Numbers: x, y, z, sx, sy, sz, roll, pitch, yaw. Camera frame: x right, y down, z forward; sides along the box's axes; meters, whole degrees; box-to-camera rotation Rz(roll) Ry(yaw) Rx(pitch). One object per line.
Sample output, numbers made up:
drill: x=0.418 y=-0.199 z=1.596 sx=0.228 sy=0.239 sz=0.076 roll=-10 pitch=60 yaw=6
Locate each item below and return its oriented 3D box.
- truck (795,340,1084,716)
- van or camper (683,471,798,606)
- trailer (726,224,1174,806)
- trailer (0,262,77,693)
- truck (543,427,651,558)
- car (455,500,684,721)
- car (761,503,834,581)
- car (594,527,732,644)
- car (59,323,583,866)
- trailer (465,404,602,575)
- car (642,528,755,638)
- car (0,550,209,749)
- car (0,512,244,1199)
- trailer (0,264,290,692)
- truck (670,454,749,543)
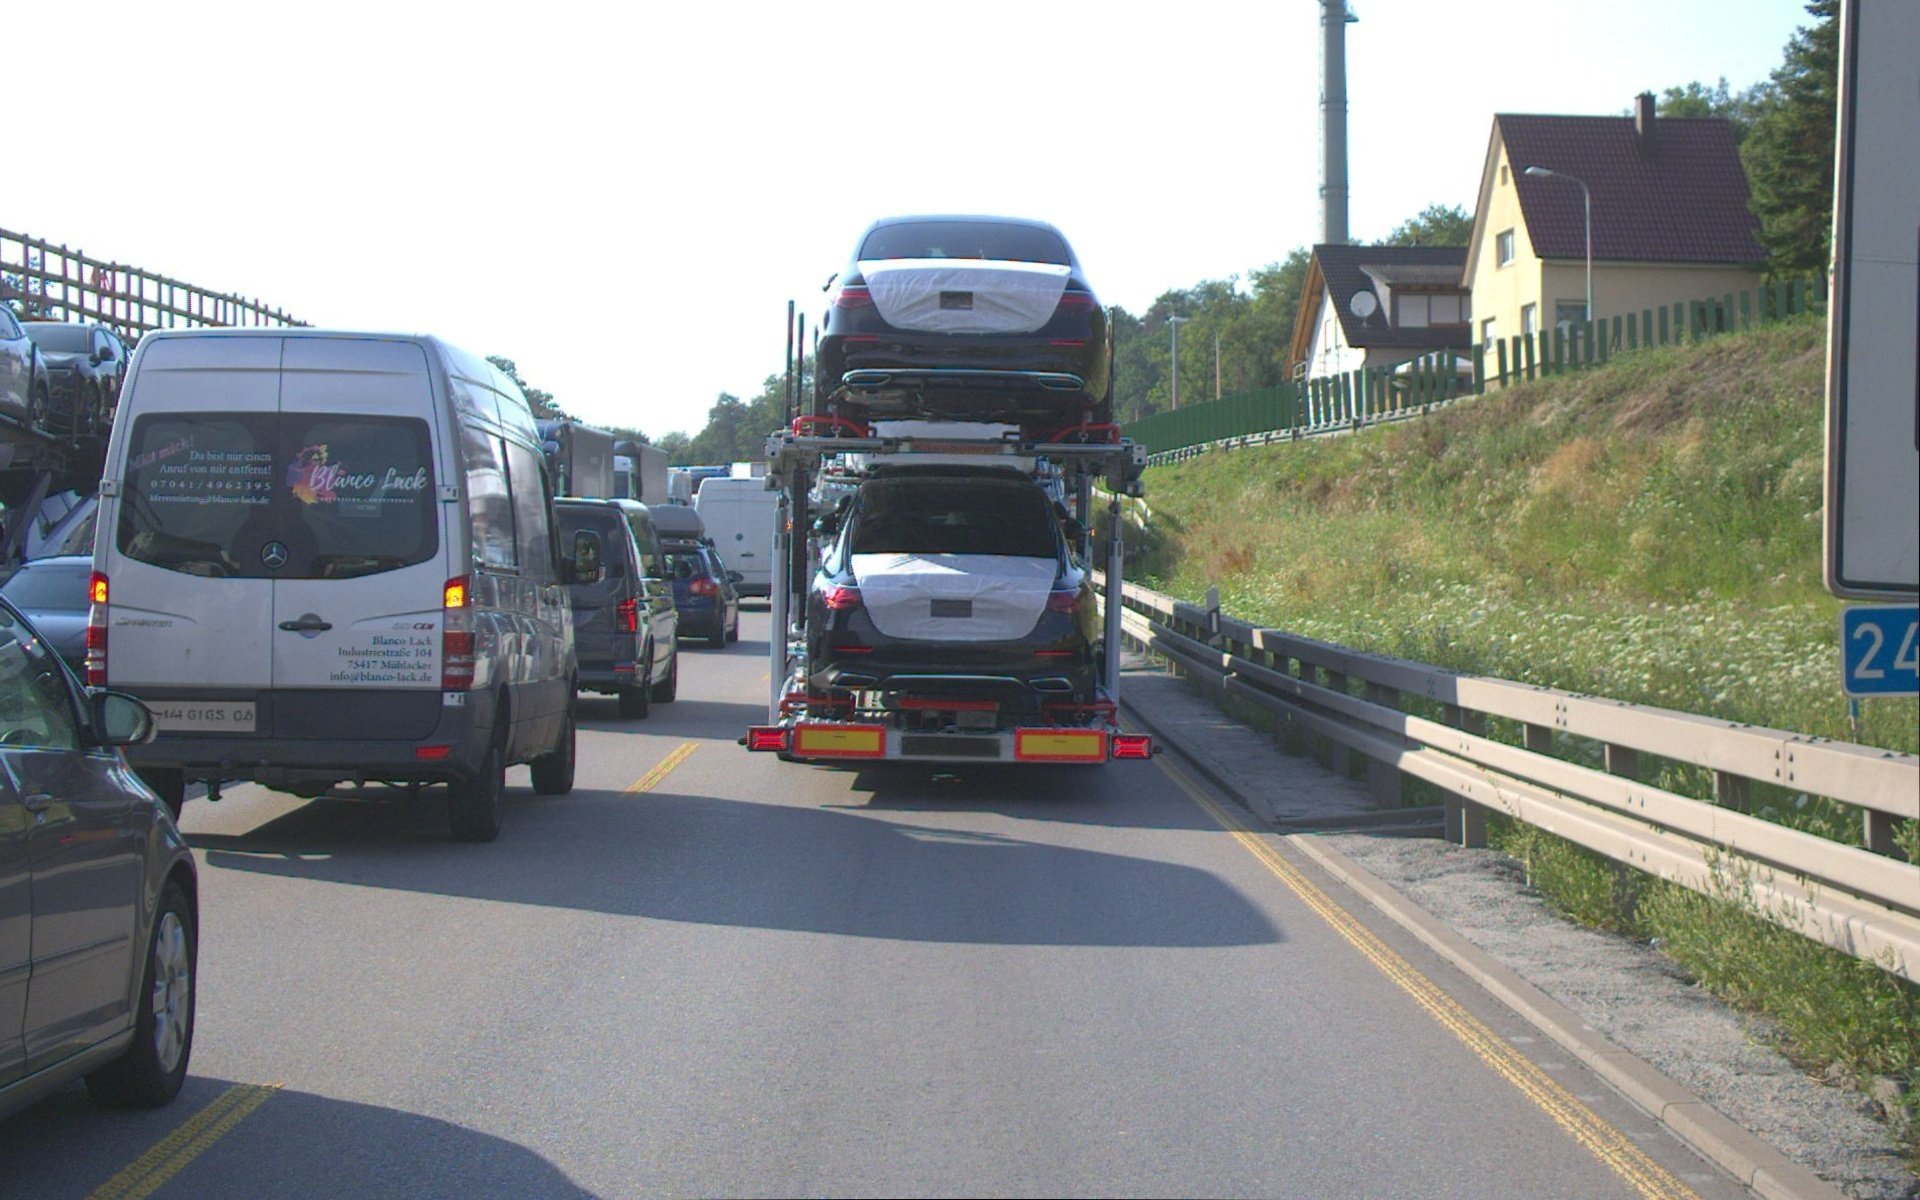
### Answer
truck: x=-0.228 y=-0.741 z=36.214 sx=2.682 sy=3.522 sz=7.194 roll=1 pitch=1 yaw=-1
van or camper: x=-4.381 y=-1.227 z=69.229 sx=1.968 sy=2.582 sz=5.042 roll=1 pitch=1 yaw=0
trailer: x=-0.139 y=-0.641 z=28.723 sx=2.682 sy=3.522 sz=15.289 roll=1 pitch=1 yaw=-1
trailer: x=-10.336 y=-1.151 z=31.255 sx=2.771 sy=4.017 sz=7.208 roll=1 pitch=1 yaw=-1
truck: x=-11.450 y=-3.349 z=108.885 sx=2.860 sy=3.994 sz=5.658 roll=1 pitch=1 yaw=-1
car: x=-3.589 y=0.076 z=32.182 sx=1.808 sy=1.897 sz=4.000 roll=1 pitch=0 yaw=-2
car: x=-4.473 y=-1.617 z=94.826 sx=1.885 sy=2.092 sz=3.766 roll=1 pitch=1 yaw=-1
car: x=-4.175 y=-0.240 z=48.764 sx=1.725 sy=1.517 sz=3.974 roll=1 pitch=2 yaw=-2
car: x=-3.409 y=-0.107 z=19.488 sx=1.993 sy=2.639 sz=5.531 roll=0 pitch=2 yaw=-1
trailer: x=-10.786 y=-2.812 z=87.352 sx=2.764 sy=4.127 sz=5.977 roll=1 pitch=2 yaw=-1
car: x=-6.178 y=-0.433 z=81.658 sx=2.471 sy=2.525 sz=4.000 roll=0 pitch=1 yaw=-1
car: x=-7.418 y=0.332 z=27.713 sx=1.709 sy=1.440 sz=4.600 roll=1 pitch=1 yaw=0
car: x=-2.927 y=0.592 z=8.018 sx=1.680 sy=1.583 sz=4.272 roll=0 pitch=0 yaw=-1
trailer: x=-10.474 y=-1.255 z=38.971 sx=2.771 sy=4.017 sz=15.764 roll=1 pitch=1 yaw=-1
truck: x=-10.092 y=-4.057 z=139.307 sx=2.714 sy=3.412 sz=8.142 roll=-2 pitch=1 yaw=-2
